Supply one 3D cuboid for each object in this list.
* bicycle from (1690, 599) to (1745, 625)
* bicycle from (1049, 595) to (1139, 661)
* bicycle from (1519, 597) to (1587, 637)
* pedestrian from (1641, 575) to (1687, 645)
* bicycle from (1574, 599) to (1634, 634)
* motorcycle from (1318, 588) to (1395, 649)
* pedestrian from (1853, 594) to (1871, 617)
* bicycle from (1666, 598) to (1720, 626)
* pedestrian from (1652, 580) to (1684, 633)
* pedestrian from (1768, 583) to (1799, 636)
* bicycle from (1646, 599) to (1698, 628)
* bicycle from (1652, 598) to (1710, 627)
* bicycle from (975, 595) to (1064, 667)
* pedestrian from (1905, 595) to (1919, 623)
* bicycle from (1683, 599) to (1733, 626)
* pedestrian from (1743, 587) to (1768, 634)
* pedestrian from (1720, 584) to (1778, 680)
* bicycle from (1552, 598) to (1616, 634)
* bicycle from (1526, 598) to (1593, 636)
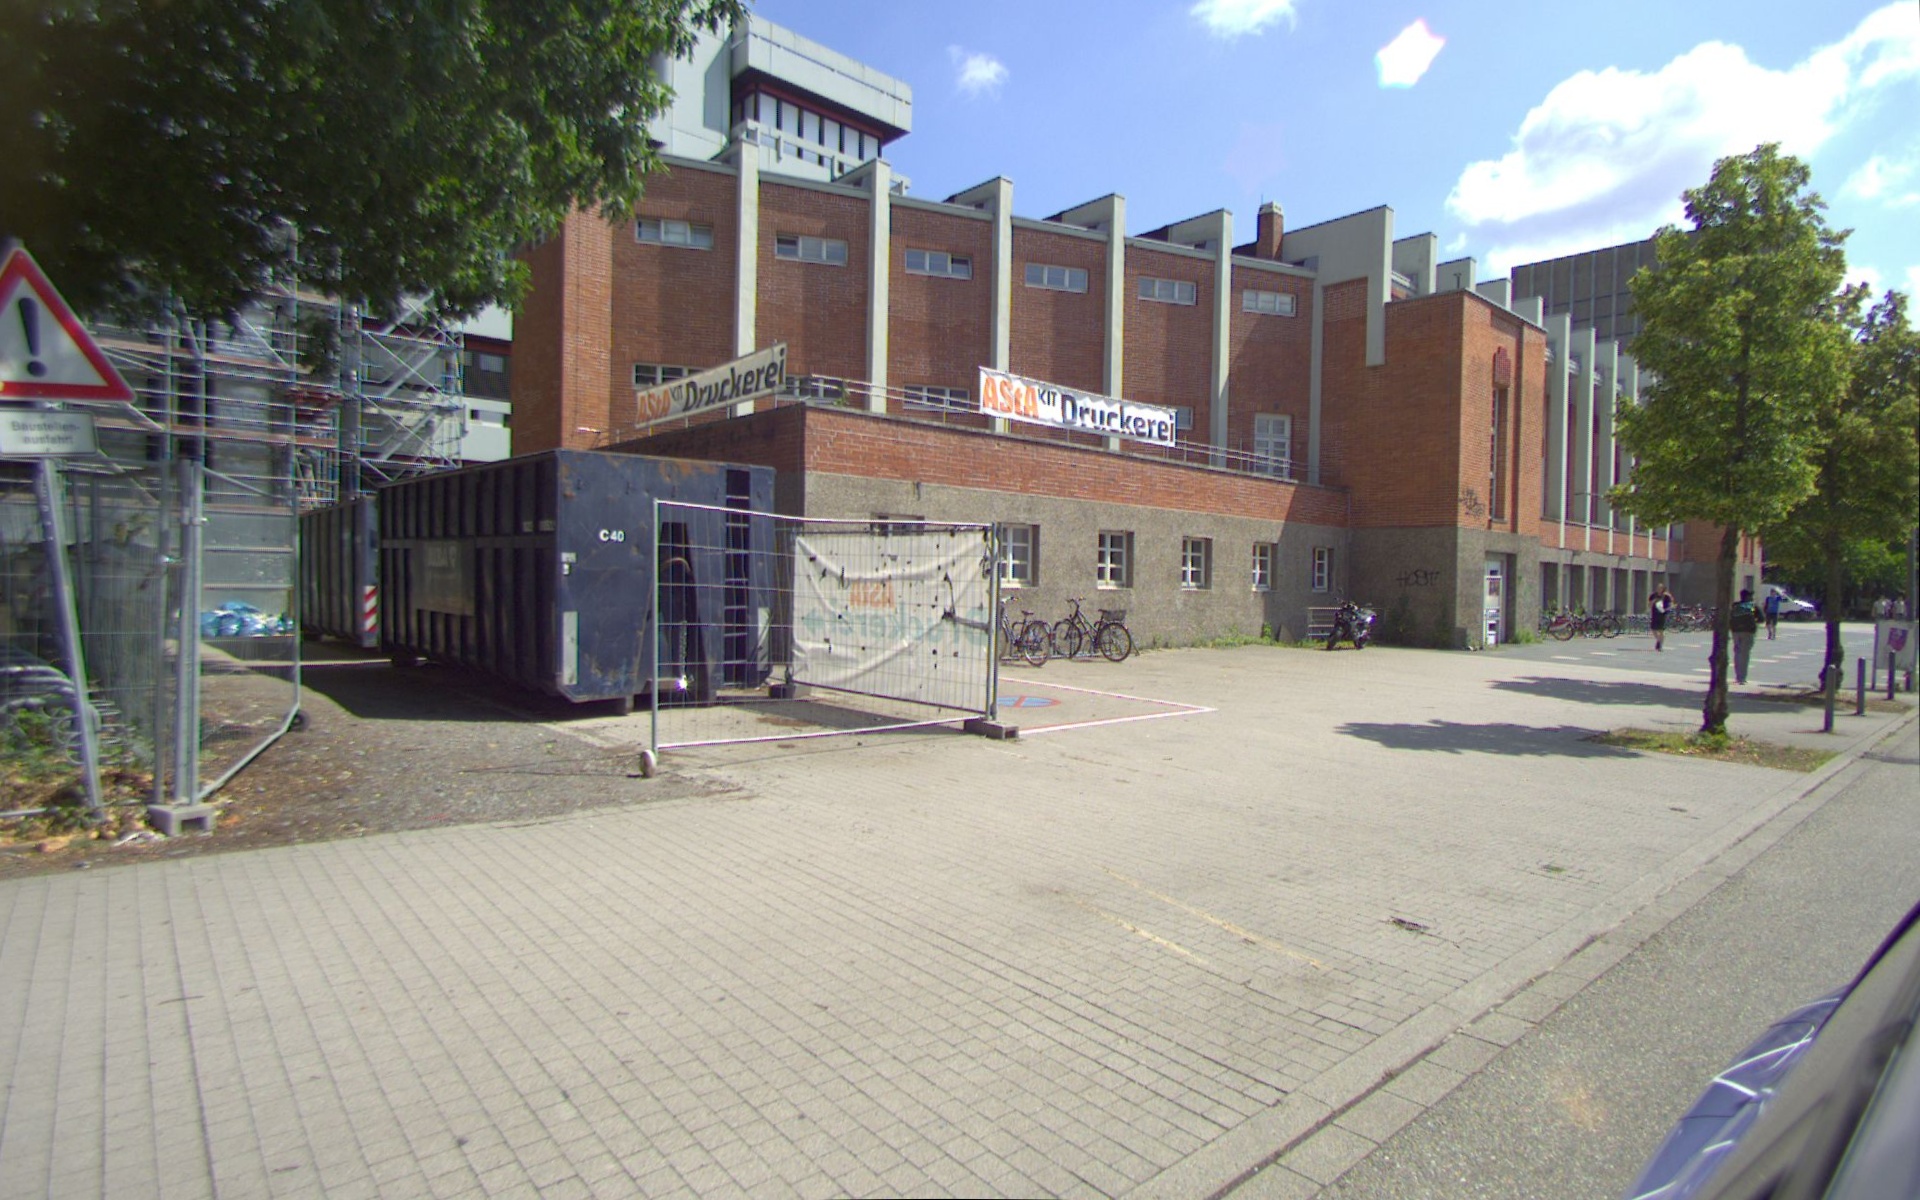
[{"bbox_3d":[34.390,0.525,45.968,0.449,1.124,1.932,1,1,-43],"label":"bicycle"},{"bbox_3d":[2.449,0.494,18.665,0.440,1.123,1.809,1,1,-41],"label":"bicycle"},{"bbox_3d":[18.555,0.518,31.691,0.428,1.164,1.755,1,1,-43],"label":"bicycle"},{"bbox_3d":[19.261,0.268,27.680,0.844,1.857,1.179,1,1,43],"label":"pedestrian"},{"bbox_3d":[22.085,0.563,34.734,0.428,1.124,1.684,1,1,-43],"label":"bicycle"},{"bbox_3d":[9.235,0.405,23.527,2.180,1.340,0.697,0,1,-40],"label":"motorcycle"},{"bbox_3d":[66.183,0.408,74.255,0.743,1.694,0.838,2,1,26],"label":"pedestrian"},{"bbox_3d":[31.334,0.512,43.296,0.428,1.124,1.799,1,1,-43],"label":"bicycle"},{"bbox_3d":[25.073,0.229,35.836,0.889,1.857,0.665,1,1,-38],"label":"pedestrian"},{"bbox_3d":[30.434,0.323,37.386,1.091,1.913,0.665,0,2,-41],"label":"pedestrian"},{"bbox_3d":[28.813,0.533,40.972,0.428,1.124,1.684,1,1,-43],"label":"bicycle"},{"bbox_3d":[29.997,0.523,42.119,0.428,1.124,1.914,1,1,-43],"label":"bicycle"},{"bbox_3d":[0.997,0.503,17.251,0.440,1.123,1.705,1,1,-41],"label":"bicycle"},{"bbox_3d":[59.122,0.564,62.550,0.779,1.696,1.066,2,2,33],"label":"pedestrian"},{"bbox_3d":[33.078,0.536,44.770,0.428,1.124,1.696,1,1,-43],"label":"bicycle"},{"bbox_3d":[29.890,0.381,38.042,0.585,1.728,0.986,2,2,45],"label":"pedestrian"},{"bbox_3d":[14.473,0.565,18.559,0.778,1.718,0.643,1,1,-37],"label":"pedestrian"},{"bbox_3d":[20.944,0.533,33.987,0.428,1.124,1.749,1,1,-43],"label":"bicycle"},{"bbox_3d":[19.162,0.531,32.380,0.509,1.164,1.755,1,1,-43],"label":"bicycle"}]
